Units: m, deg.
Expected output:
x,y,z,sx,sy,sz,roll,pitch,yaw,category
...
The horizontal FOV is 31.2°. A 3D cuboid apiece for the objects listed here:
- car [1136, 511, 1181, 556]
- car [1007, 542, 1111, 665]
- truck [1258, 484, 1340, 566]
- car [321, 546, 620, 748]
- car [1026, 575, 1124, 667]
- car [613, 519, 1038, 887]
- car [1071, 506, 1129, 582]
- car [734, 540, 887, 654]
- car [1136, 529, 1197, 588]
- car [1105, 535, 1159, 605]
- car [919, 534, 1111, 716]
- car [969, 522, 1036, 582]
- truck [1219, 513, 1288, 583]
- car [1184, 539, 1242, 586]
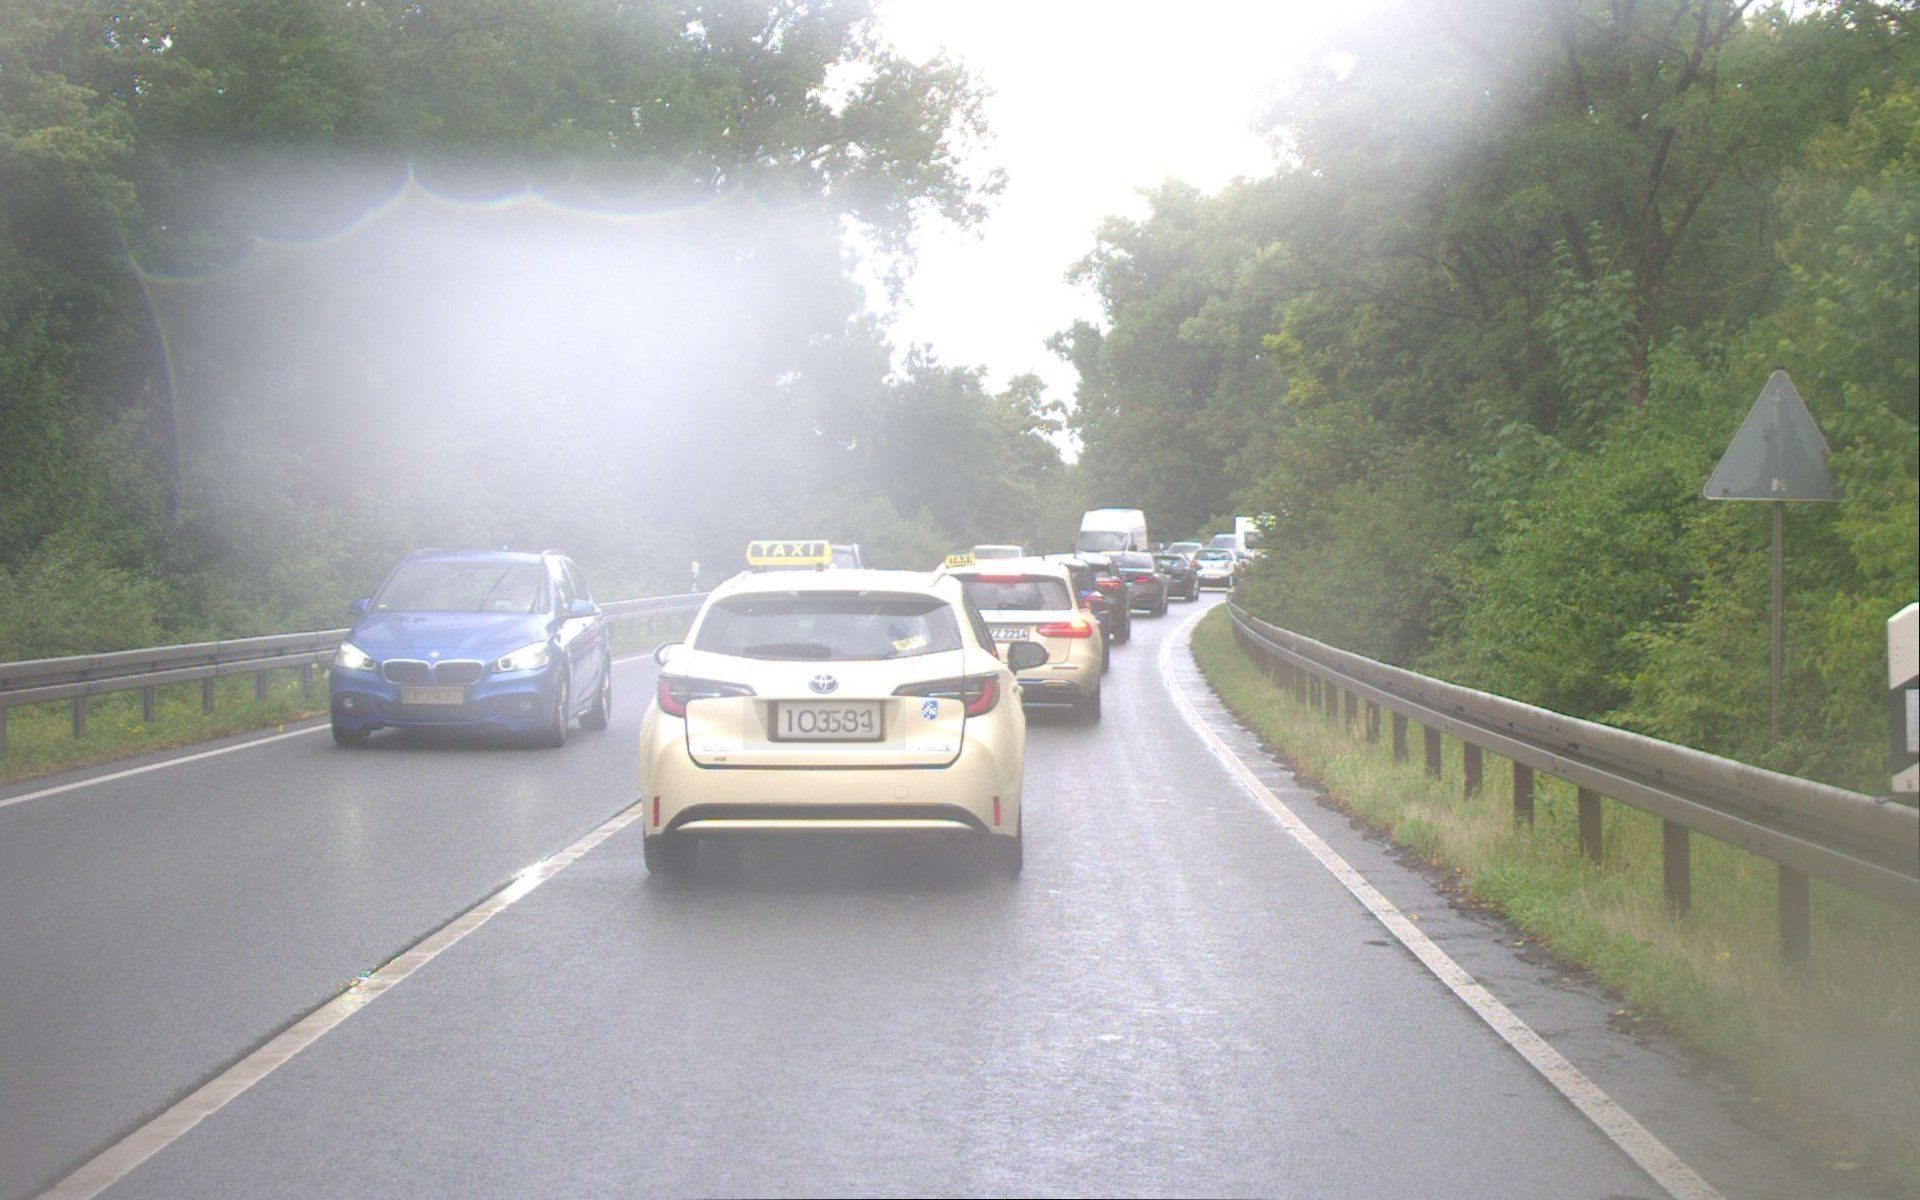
x,y,z,sx,sy,sz,roll,pitch,yaw,category
9.387,-3.130,162.162,1.994,2.007,3.999,1,0,5,car
1.314,0.039,45.448,1.300,1.541,3.260,1,0,2,car
16.073,-3.507,162.477,3.108,3.668,6.996,1,0,12,truck
-3.916,0.353,28.076,1.707,1.510,3.912,1,0,2,car
2.011,0.337,59.371,1.611,1.541,3.813,0,0,3,car
-0.560,0.441,17.079,1.834,1.575,4.156,1,0,1,car
5.123,-1.994,125.050,2.048,2.667,6.171,0,0,3,car
-2.241,-0.075,52.515,1.847,1.638,4.297,1,1,4,car
5.845,-1.158,96.848,1.616,1.607,3.621,1,0,5,car
3.887,-0.668,77.844,1.167,1.541,2.604,1,0,2,car
0.545,0.209,32.170,1.667,1.575,3.892,1,0,2,car
1.168,-1.286,92.401,1.691,1.550,4.442,1,1,2,car
11.798,-2.057,138.691,2.550,2.704,7.534,1,0,3,truck
8.594,-1.274,116.612,1.770,1.541,3.813,1,0,7,car
